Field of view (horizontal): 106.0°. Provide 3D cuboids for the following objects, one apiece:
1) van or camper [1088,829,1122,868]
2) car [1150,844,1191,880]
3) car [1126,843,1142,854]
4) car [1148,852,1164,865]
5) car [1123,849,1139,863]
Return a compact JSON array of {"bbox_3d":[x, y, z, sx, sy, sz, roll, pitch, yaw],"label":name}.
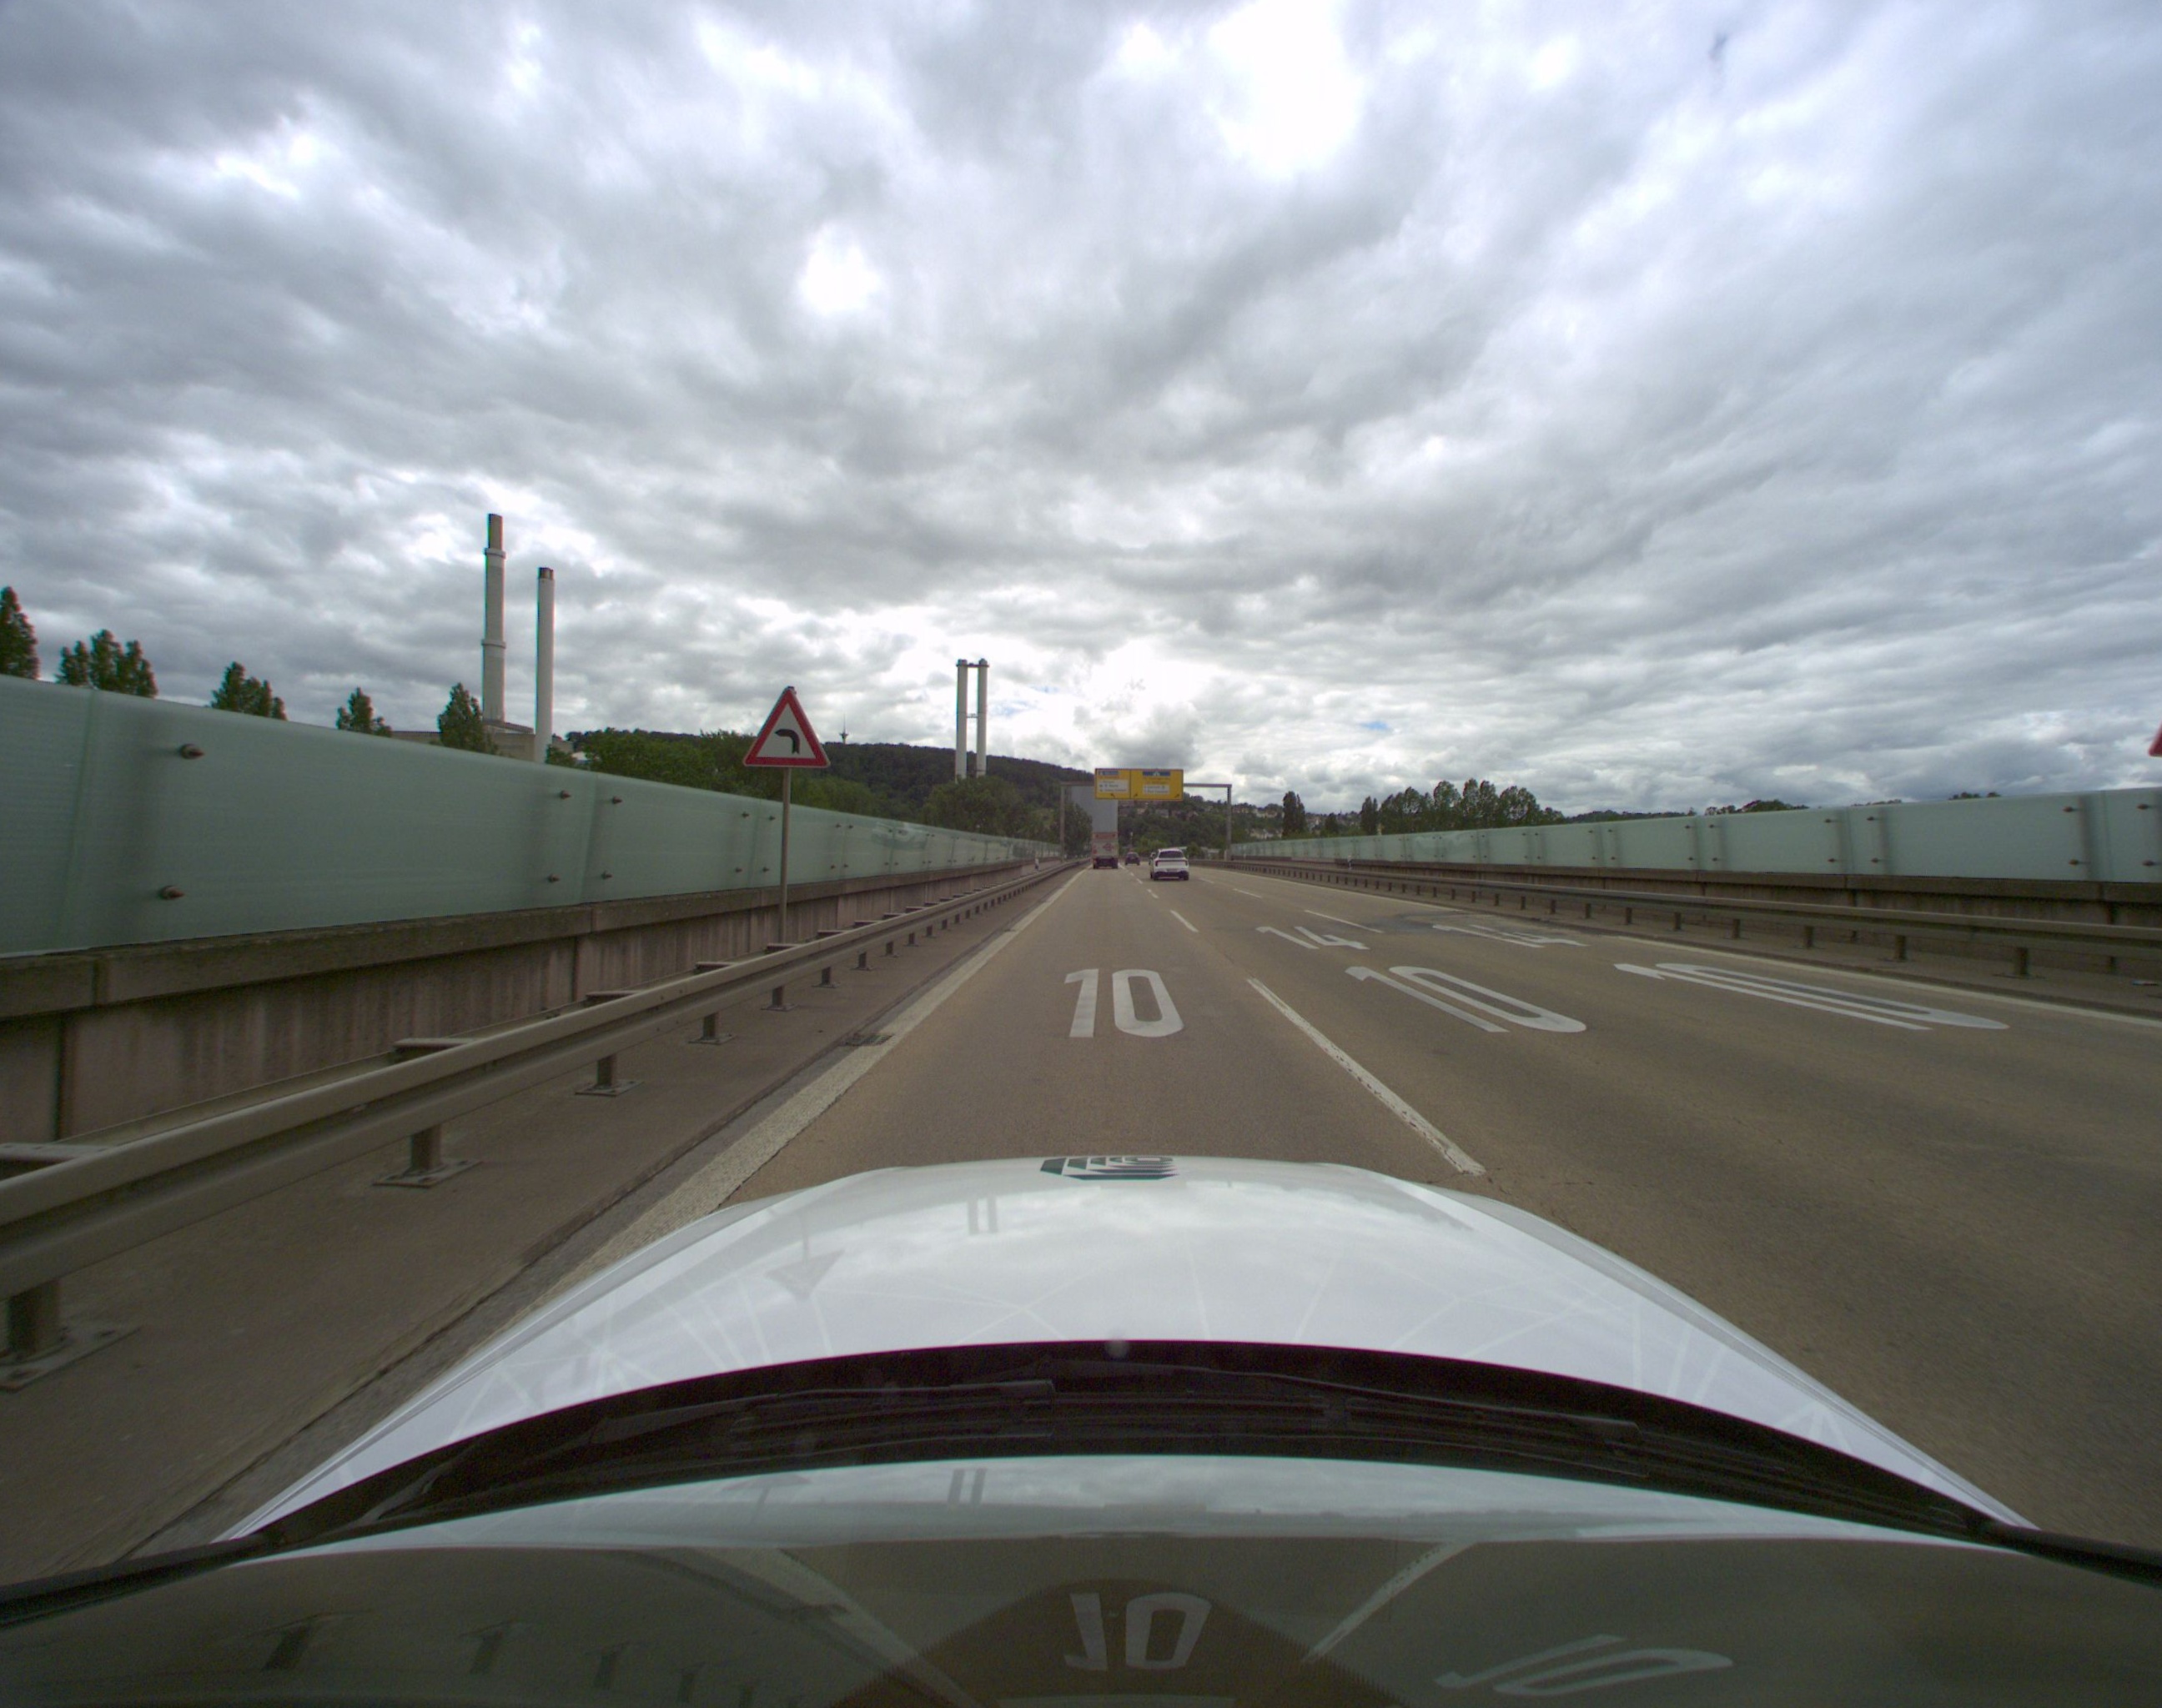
[{"bbox_3d":[2.443,-0.500,80.261,3.109,3.579,8.556,-1,0,3],"label":"van or camper"},{"bbox_3d":[4.754,0.395,43.786,1.916,1.785,4.116,-1,0,2],"label":"car"},{"bbox_3d":[10.195,-1.089,155.643,2.457,1.979,5.176,-1,0,11],"label":"car"},{"bbox_3d":[10.181,0.579,110.766,1.916,1.785,4.115,-1,0,2],"label":"car"},{"bbox_3d":[6.504,0.254,106.322,1.916,1.785,4.115,-1,0,2],"label":"car"}]
